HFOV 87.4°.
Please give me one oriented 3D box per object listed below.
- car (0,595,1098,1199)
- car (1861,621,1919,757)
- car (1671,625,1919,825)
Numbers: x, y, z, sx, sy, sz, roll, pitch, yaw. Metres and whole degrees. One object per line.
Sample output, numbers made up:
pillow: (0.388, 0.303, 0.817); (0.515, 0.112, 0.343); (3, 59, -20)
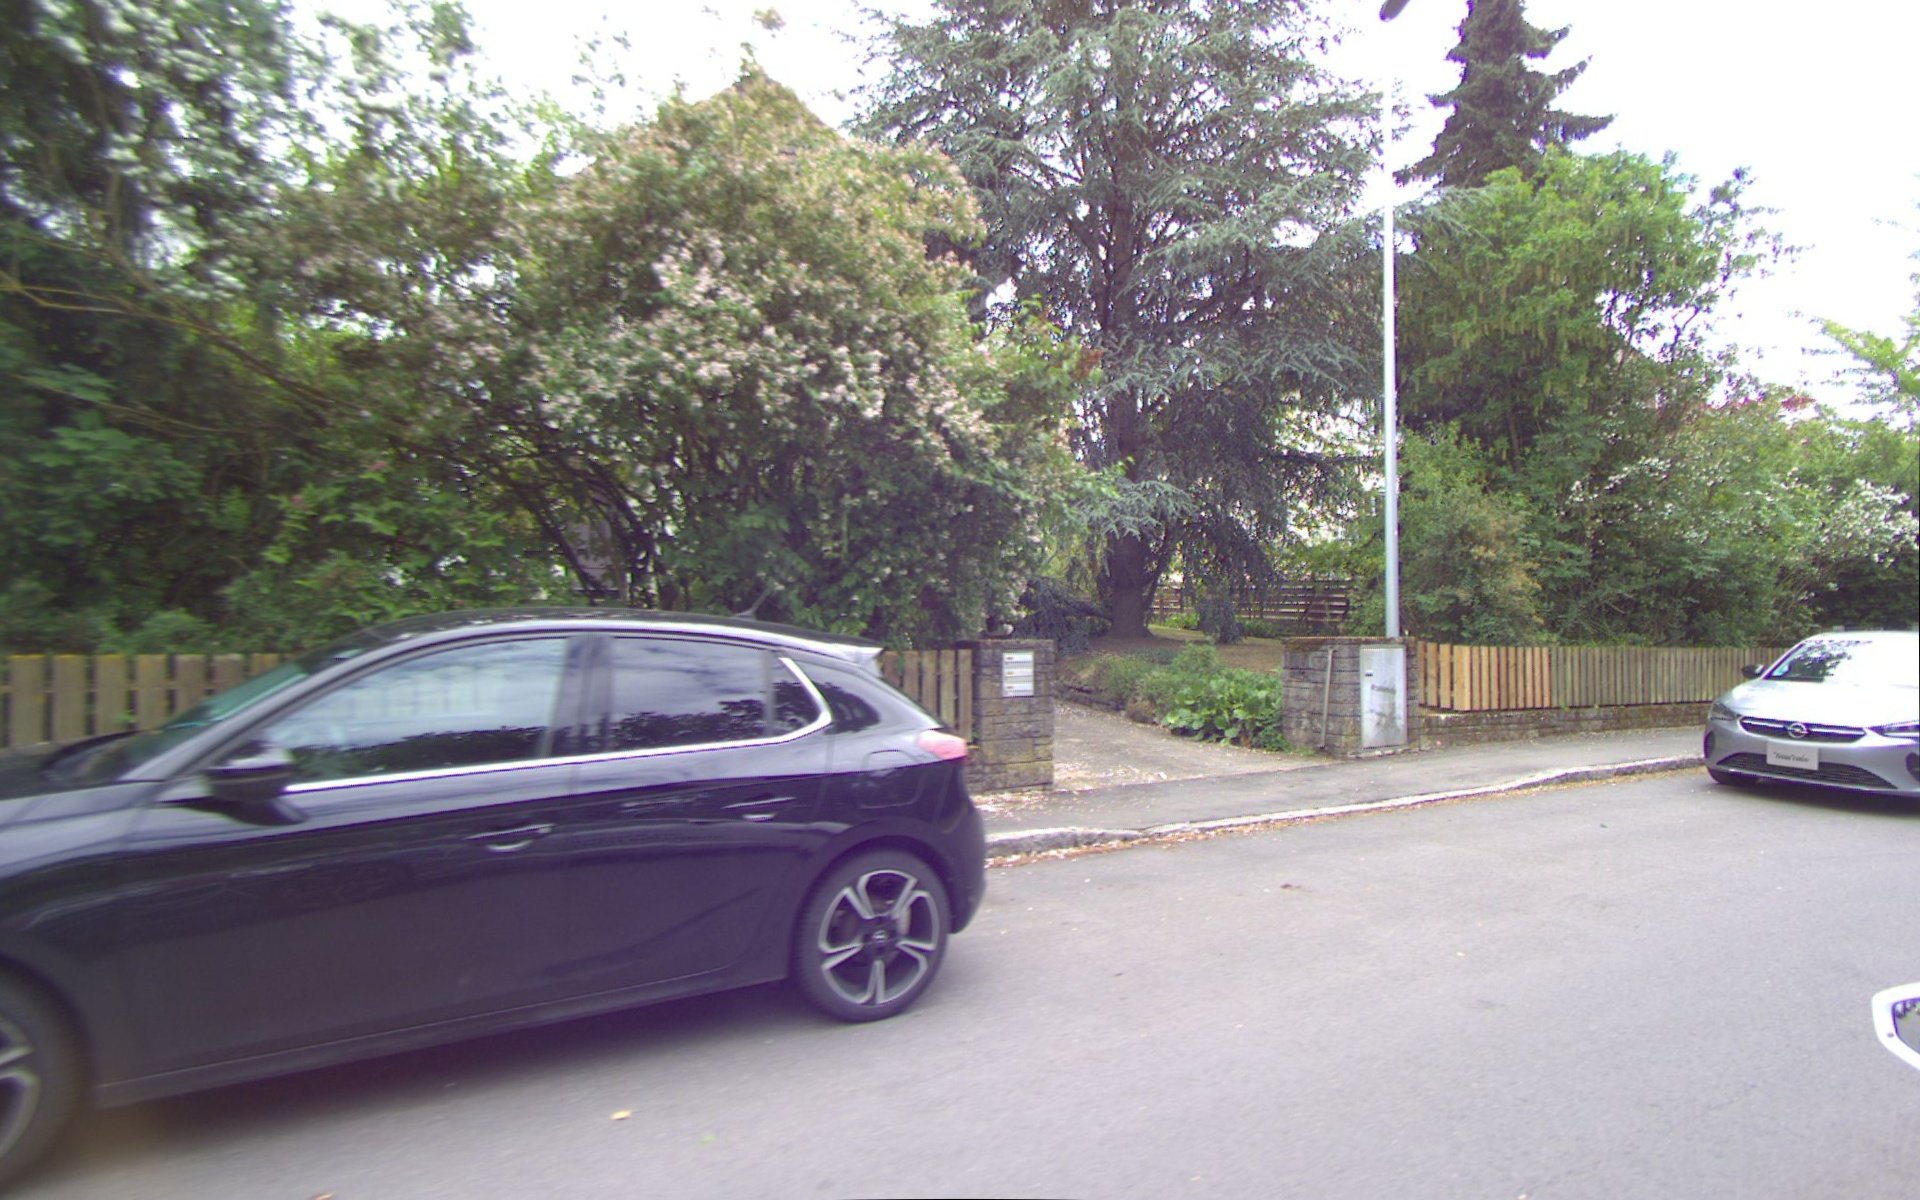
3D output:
car: (-1.641, 0.737, 3.606); (4.085, 1.435, 1.698); (1, 0, -31)
car: (13.013, 1.065, 12.189); (4.440, 1.534, 1.700); (1, 0, -28)
car: (8.450, 0.984, 9.188); (4.113, 1.429, 1.698); (1, 0, -31)
